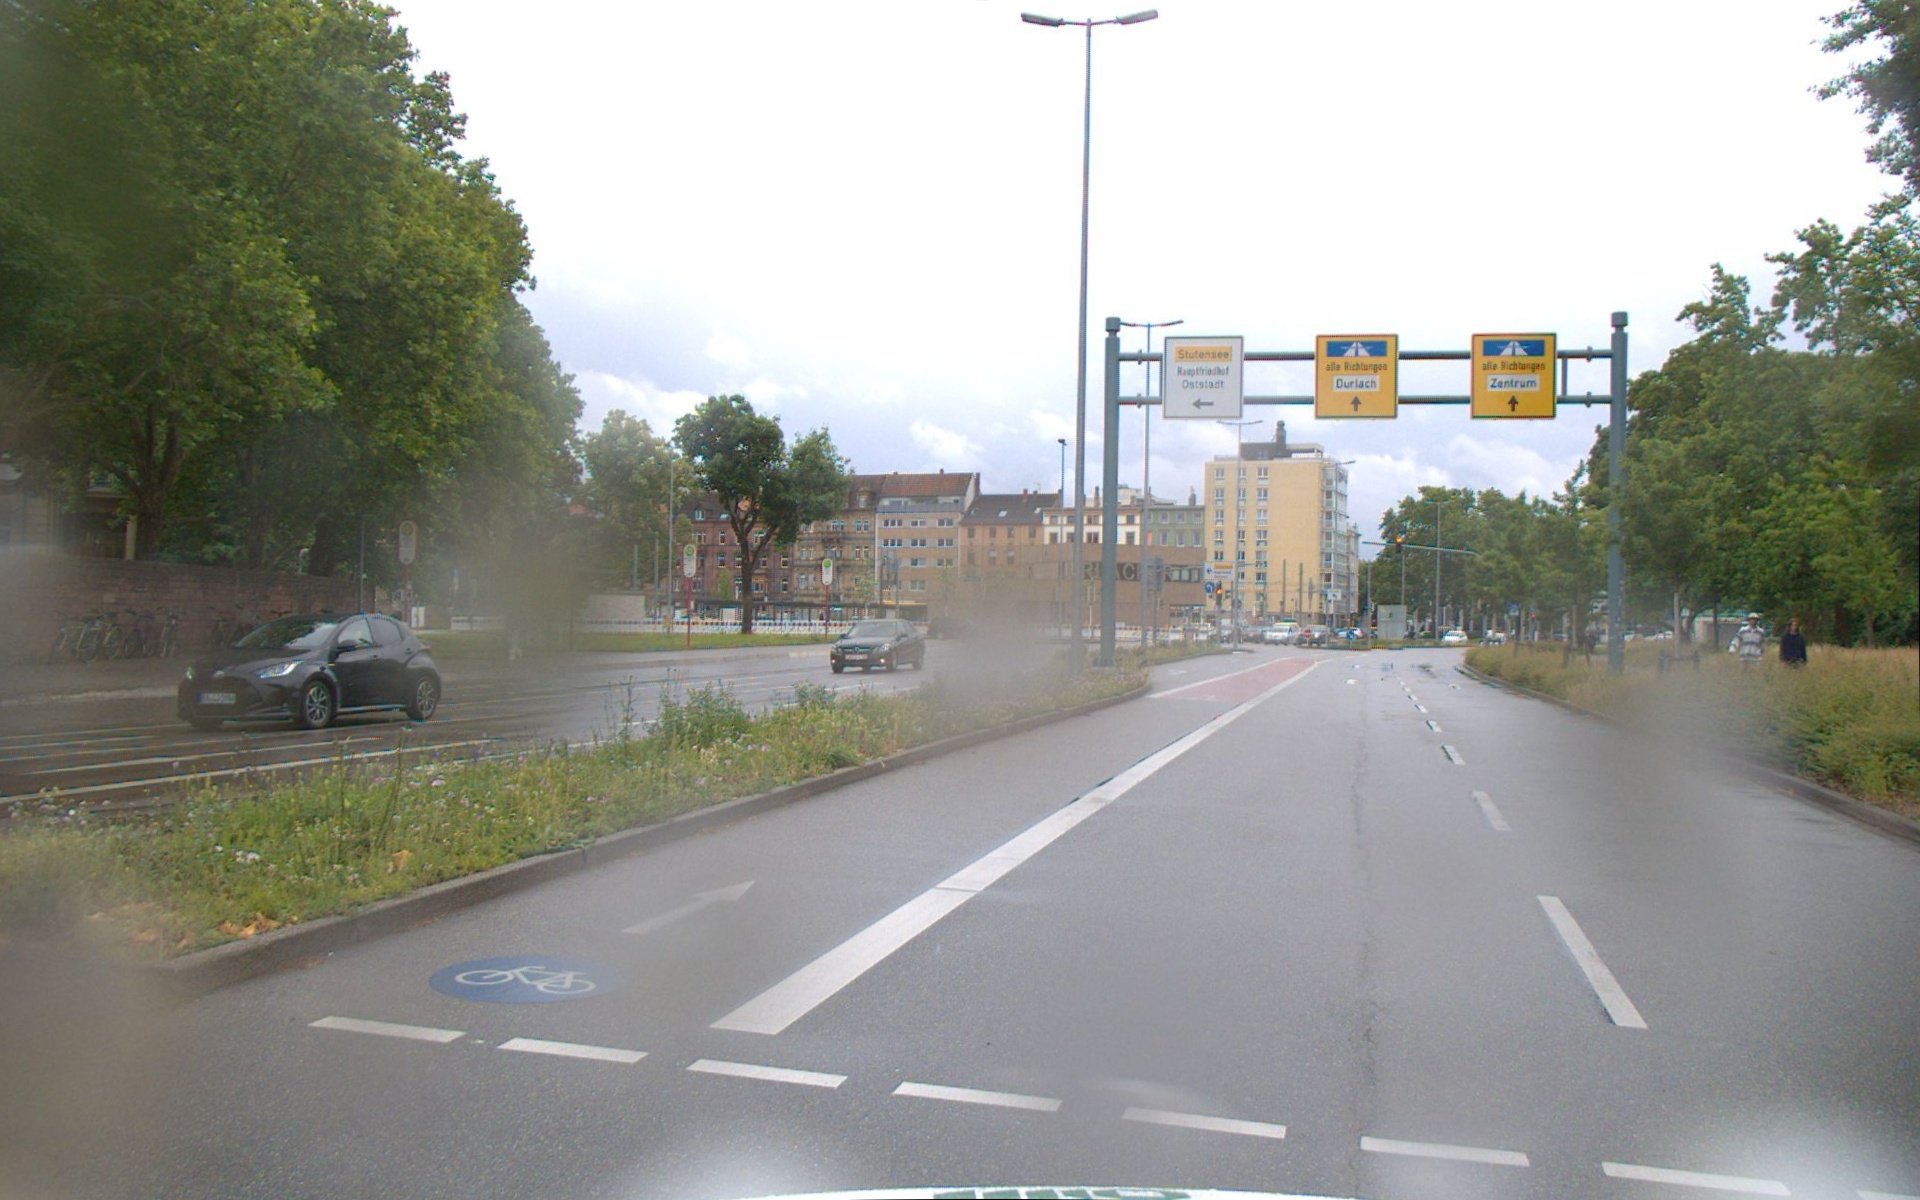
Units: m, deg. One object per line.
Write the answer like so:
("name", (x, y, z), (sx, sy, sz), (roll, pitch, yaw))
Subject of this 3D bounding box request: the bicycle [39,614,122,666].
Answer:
("bicycle", (-17.967, 0.804, 33.811), (0.716, 1.000, 1.701), (1, -1, 2))

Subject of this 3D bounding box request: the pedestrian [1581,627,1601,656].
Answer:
("pedestrian", (36.073, 2.355, 94.559), (1.002, 1.616, 0.935), (1, -1, 26))

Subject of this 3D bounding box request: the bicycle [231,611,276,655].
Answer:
("bicycle", (-19.033, 0.885, 44.586), (0.562, 1.156, 1.988), (1, 0, -7))

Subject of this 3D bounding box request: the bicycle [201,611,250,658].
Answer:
("bicycle", (-18.716, 0.871, 42.192), (0.562, 1.156, 1.988), (1, 0, -7))

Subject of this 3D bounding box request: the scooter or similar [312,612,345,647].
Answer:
("scooter or similar", (-20.003, 0.927, 52.370), (0.561, 1.065, 1.361), (1, 0, -3))

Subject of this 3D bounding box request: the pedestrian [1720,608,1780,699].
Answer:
("pedestrian", (16.035, 1.076, 33.591), (0.913, 1.750, 0.829), (2, 2, 17))

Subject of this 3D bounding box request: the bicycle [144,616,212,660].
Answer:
("bicycle", (-18.438, 0.884, 39.043), (0.716, 1.000, 1.701), (1, -1, 2))

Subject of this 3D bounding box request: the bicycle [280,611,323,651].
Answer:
("bicycle", (-19.462, 0.909, 48.908), (0.561, 1.156, 1.990), (1, 0, -3))

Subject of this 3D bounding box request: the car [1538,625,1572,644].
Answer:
("car", (54.004, 3.091, 150.162), (1.761, 1.672, 4.141), (1, -1, 37))

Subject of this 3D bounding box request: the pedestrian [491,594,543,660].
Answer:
("pedestrian", (-11.899, 0.727, 44.491), (0.850, 1.725, 1.401), (1, -1, 7))

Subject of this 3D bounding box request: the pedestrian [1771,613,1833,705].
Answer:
("pedestrian", (16.818, 1.161, 33.045), (0.913, 1.733, 0.829), (2, 2, 17))

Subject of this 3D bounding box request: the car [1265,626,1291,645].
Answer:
("car", (23.868, 2.650, 124.079), (1.643, 1.429, 4.161), (0, -1, 14))

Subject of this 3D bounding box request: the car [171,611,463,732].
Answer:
("car", (-8.387, 0.893, 21.970), (1.589, 1.440, 4.069), (-1, -1, 13))

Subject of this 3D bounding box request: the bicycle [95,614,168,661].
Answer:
("bicycle", (-18.477, 0.828, 36.931), (0.716, 1.000, 1.701), (1, -1, 2))

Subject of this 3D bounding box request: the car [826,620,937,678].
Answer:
("car", (-2.194, 1.382, 47.648), (1.770, 1.567, 4.706), (-1, -1, 16))

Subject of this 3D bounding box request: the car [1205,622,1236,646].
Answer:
("car", (19.811, 2.570, 125.666), (1.670, 1.736, 3.820), (1, -1, 20))

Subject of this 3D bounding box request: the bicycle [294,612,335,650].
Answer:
("bicycle", (-19.875, 0.942, 50.927), (0.561, 1.156, 1.990), (1, 0, -3))

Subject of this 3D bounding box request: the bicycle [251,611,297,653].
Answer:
("bicycle", (-19.330, 0.895, 46.636), (0.561, 1.156, 1.990), (1, 0, -3))

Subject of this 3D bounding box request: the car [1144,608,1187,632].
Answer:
("car", (26.845, 2.604, 216.009), (5.239, 2.938, 2.339), (1, -1, 19))

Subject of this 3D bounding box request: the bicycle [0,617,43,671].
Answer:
("bicycle", (-18.327, 0.828, 31.488), (0.716, 1.000, 1.701), (1, -1, 2))

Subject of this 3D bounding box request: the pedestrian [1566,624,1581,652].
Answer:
("pedestrian", (36.426, 2.247, 98.154), (0.739, 1.616, 0.935), (1, -1, 26))

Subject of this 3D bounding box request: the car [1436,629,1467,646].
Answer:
("car", (46.804, 3.554, 157.559), (1.651, 1.528, 3.853), (-1, -1, 36))

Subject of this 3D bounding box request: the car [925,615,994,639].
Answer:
("car", (-0.020, 1.666, 103.651), (4.102, 1.427, 1.619), (1, -1, 10))

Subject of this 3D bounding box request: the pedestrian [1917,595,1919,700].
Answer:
("pedestrian", (17.126, 0.835, 28.537), (0.914, 1.828, 0.829), (1, -1, 19))
